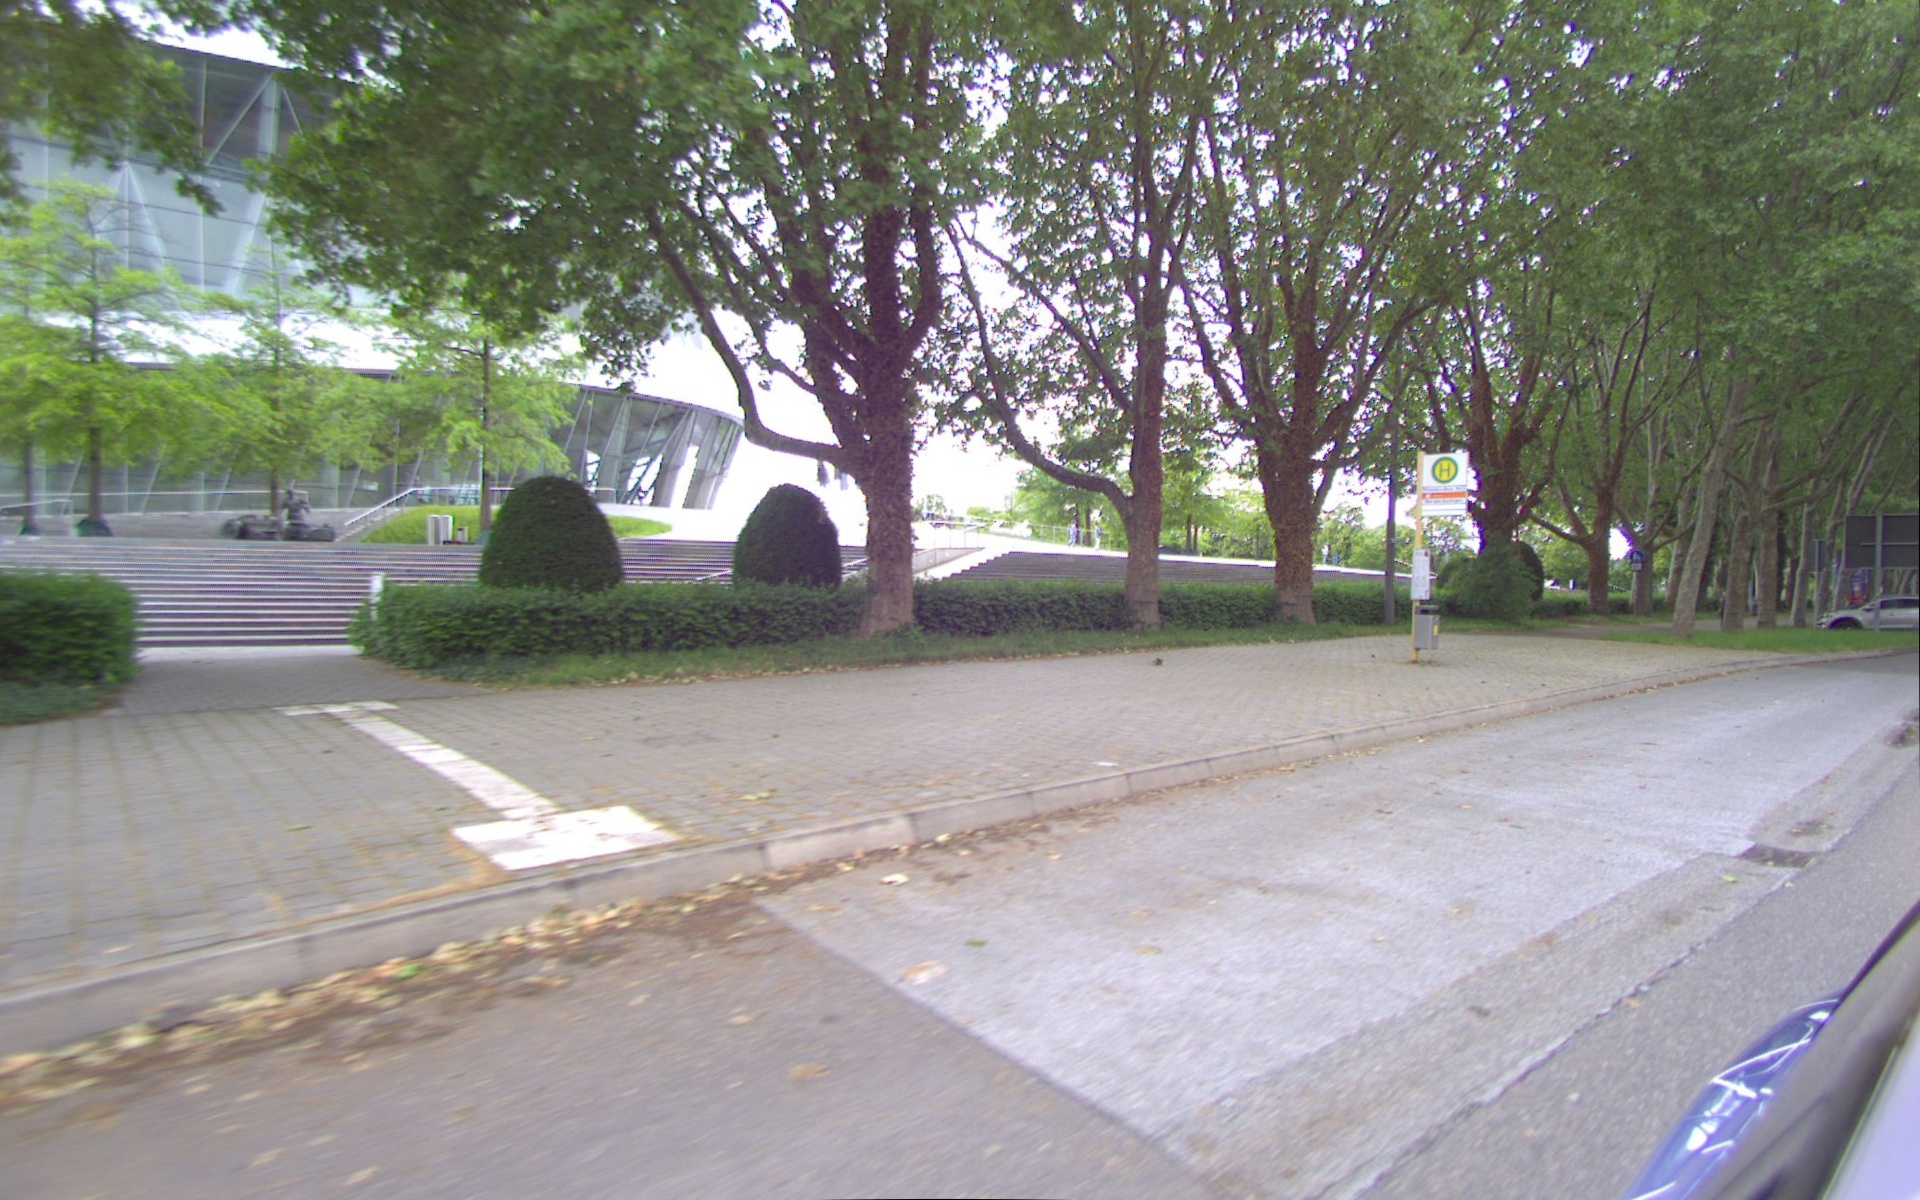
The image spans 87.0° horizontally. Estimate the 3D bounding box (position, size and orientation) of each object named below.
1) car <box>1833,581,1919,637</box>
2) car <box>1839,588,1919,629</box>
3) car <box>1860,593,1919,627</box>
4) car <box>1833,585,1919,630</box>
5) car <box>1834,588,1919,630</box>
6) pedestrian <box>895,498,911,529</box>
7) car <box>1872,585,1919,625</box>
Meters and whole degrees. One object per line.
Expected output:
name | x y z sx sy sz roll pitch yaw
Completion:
car | 35.517 0.346 37.949 1.966 2.039 3.992 1 -1 -42
car | 38.799 0.343 41.227 1.892 1.654 4.352 1 -1 -42
car | 42.758 0.440 44.724 1.917 1.474 4.349 1 -1 -44
car | 35.697 0.290 37.893 1.892 1.654 4.352 1 -1 -42
car | 37.379 0.342 39.793 1.892 1.625 4.352 1 -1 -42
pedestrian | -3.475 -5.273 61.811 0.667 1.787 0.838 0 0 -27
car | 44.592 0.254 46.162 1.894 1.783 4.350 0 1 -44
